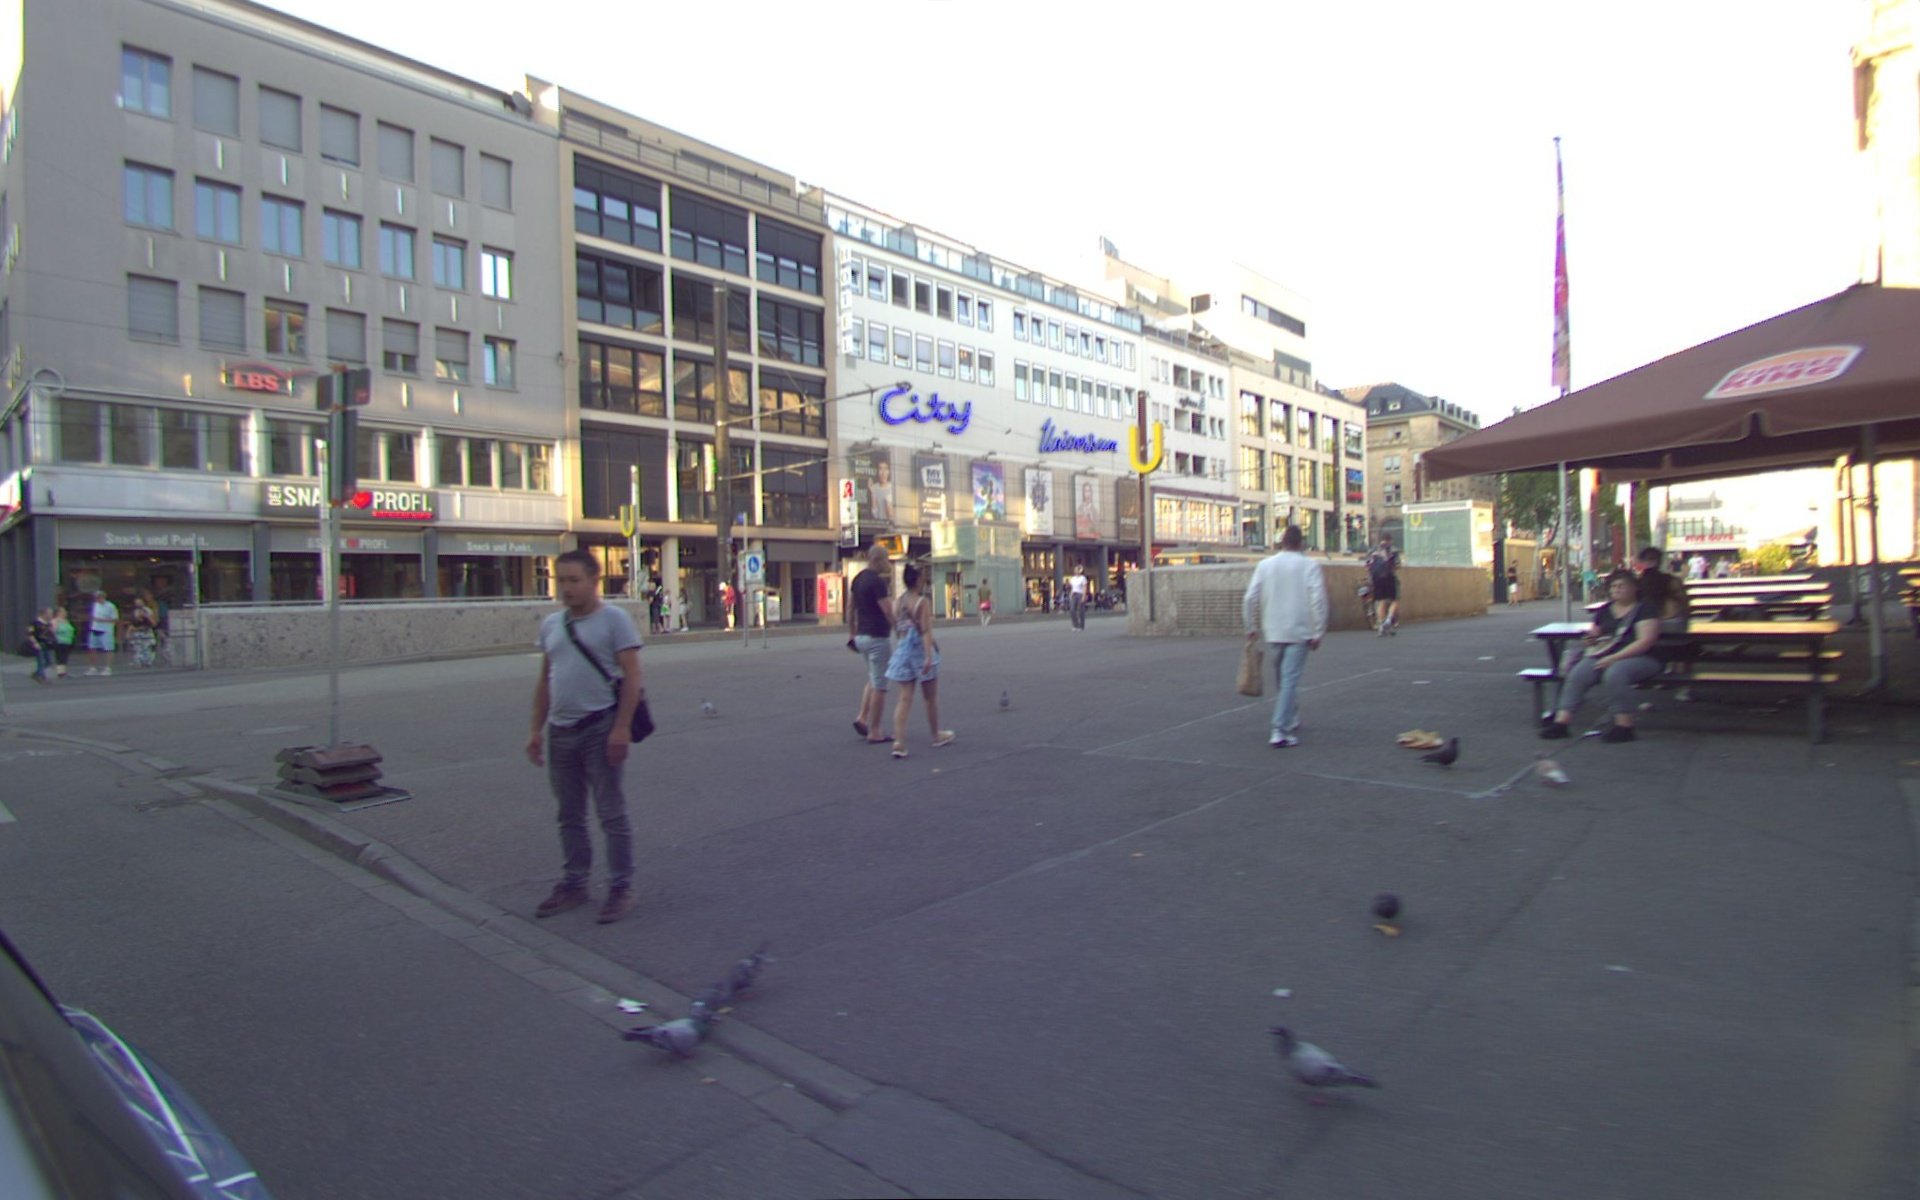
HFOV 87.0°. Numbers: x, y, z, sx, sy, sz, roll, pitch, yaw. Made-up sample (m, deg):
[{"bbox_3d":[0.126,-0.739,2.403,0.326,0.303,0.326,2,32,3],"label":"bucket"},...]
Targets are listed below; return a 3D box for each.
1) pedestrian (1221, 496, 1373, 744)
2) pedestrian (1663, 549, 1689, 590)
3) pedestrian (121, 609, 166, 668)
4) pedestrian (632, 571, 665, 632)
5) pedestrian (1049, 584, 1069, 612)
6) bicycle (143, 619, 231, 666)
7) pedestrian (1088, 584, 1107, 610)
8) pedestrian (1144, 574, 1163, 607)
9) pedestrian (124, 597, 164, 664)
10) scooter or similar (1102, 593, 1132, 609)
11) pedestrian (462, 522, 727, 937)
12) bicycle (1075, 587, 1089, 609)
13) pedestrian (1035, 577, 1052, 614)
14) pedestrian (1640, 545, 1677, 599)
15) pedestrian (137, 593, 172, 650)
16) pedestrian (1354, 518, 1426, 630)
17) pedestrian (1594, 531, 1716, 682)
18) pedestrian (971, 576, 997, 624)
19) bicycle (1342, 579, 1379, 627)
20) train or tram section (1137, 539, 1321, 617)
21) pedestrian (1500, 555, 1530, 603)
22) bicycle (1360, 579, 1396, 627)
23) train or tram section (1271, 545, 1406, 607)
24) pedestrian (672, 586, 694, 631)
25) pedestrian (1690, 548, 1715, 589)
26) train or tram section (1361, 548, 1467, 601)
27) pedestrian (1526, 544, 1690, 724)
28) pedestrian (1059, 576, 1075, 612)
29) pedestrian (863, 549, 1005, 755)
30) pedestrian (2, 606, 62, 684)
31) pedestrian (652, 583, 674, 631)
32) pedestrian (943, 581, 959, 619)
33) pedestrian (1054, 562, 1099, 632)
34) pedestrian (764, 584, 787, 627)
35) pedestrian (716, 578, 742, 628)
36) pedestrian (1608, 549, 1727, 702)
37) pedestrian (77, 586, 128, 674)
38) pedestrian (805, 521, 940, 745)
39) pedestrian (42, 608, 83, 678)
[{"bbox_3d":[2.725,0.136,8.156,0.865,1.853,0.863,-2,2,36],"label":"pedestrian"},{"bbox_3d":[32.732,-1.377,46.238,0.811,1.837,0.794,-2,1,44],"label":"pedestrian"},{"bbox_3d":[-20.215,0.946,25.054,0.674,1.445,0.556,-1,-1,-10],"label":"pedestrian"},{"bbox_3d":[-10.133,0.056,32.906,0.715,1.939,0.700,-2,-1,37],"label":"pedestrian"},{"bbox_3d":[5.087,-0.098,52.129,0.709,1.389,0.711,-2,-1,41],"label":"pedestrian"},{"bbox_3d":[-20.637,1.107,27.037,1.773,1.116,0.500,-4,1,-43],"label":"bicycle"},{"bbox_3d":[7.408,-0.153,54.553,0.709,1.389,0.711,-2,-1,41],"label":"pedestrian"},{"bbox_3d":[10.538,-0.501,55.105,0.775,1.738,0.700,-2,-1,42],"label":"pedestrian"},{"bbox_3d":[-21.616,0.791,26.810,0.715,1.738,0.700,-2,-1,40],"label":"pedestrian"},{"bbox_3d":[8.404,0.064,54.154,1.501,0.837,0.560,-1,-1,-9],"label":"scooter or similar"},{"bbox_3d":[-1.633,0.513,4.593,0.729,1.658,0.863,0,0,29],"label":"pedestrian"},{"bbox_3d":[6.520,-0.102,54.077,0.431,1.150,1.609,-2,0,17],"label":"bicycle"},{"bbox_3d":[4.013,-0.214,48.407,0.702,1.738,0.773,-1,-1,11],"label":"pedestrian"},{"bbox_3d":[22.959,-0.905,33.285,0.718,1.718,0.652,-2,0,7],"label":"pedestrian"},{"bbox_3d":[-24.587,0.652,30.881,0.715,1.738,0.700,-2,-1,40],"label":"pedestrian"},{"bbox_3d":[7.287,-0.430,17.140,0.794,1.837,0.812,-3,1,-44],"label":"pedestrian"},{"bbox_3d":[6.794,0.046,9.903,0.642,1.393,0.808,-5,3,-37],"label":"pedestrian"},{"bbox_3d":[0.866,-0.004,36.867,0.715,1.738,0.704,-1,-1,22],"label":"pedestrian"},{"bbox_3d":[7.661,0.055,19.354,0.316,0.873,0.987,-3,-1,40],"label":"bicycle"},{"bbox_3d":[13.861,-1.122,50.536,2.808,3.344,14.310,-2,0,41],"label":"train or tram section"},{"bbox_3d":[21.982,-0.838,40.063,0.811,1.837,0.794,-2,1,44],"label":"pedestrian"},{"bbox_3d":[7.904,0.053,19.134,0.316,0.873,0.987,-3,-1,40],"label":"bicycle"},{"bbox_3d":[23.249,-1.484,61.341,2.808,3.344,14.310,-2,0,41],"label":"train or tram section"},{"bbox_3d":[-10.063,0.306,36.803,0.619,1.600,0.605,-1,-1,0],"label":"pedestrian"},{"bbox_3d":[33.463,-1.418,45.598,0.811,1.837,0.795,-2,1,41],"label":"pedestrian"},{"bbox_3d":[32.617,-1.840,72.134,2.808,3.344,14.310,-2,0,41],"label":"train or tram section"},{"bbox_3d":[4.949,0.225,7.737,0.814,1.252,0.783,-4,3,-34],"label":"pedestrian"},{"bbox_3d":[5.270,-0.269,49.792,0.702,1.738,0.772,-1,-1,13],"label":"pedestrian"},{"bbox_3d":[-0.212,0.390,8.435,0.806,1.593,0.862,1,2,41],"label":"pedestrian"},{"bbox_3d":[-19.013,0.916,20.743,0.677,1.553,0.605,-1,-1,0],"label":"pedestrian"},{"bbox_3d":[-10.823,0.255,36.867,0.619,1.738,0.605,-1,-1,-2],"label":"pedestrian"},{"bbox_3d":[-0.385,-0.007,44.306,0.511,1.629,0.499,-2,-1,33],"label":"pedestrian"},{"bbox_3d":[3.171,-0.076,27.495,0.774,1.837,0.928,-3,-1,38],"label":"pedestrian"},{"bbox_3d":[-6.943,0.193,38.120,0.596,1.600,0.629,-1,-1,-41],"label":"pedestrian"},{"bbox_3d":[-8.068,0.119,35.367,0.774,1.710,0.717,-1,-1,-6],"label":"pedestrian"},{"bbox_3d":[6.123,0.198,8.759,0.689,1.235,0.619,-4,3,-34],"label":"pedestrian"},{"bbox_3d":[-19.391,0.675,22.893,0.773,1.941,0.701,-2,-1,34],"label":"pedestrian"},{"bbox_3d":[-0.772,0.259,8.952,0.806,1.853,0.862,1,2,41],"label":"pedestrian"},{"bbox_3d":[-19.806,0.940,22.335,0.604,1.505,0.549,-2,-1,34],"label":"pedestrian"}]
